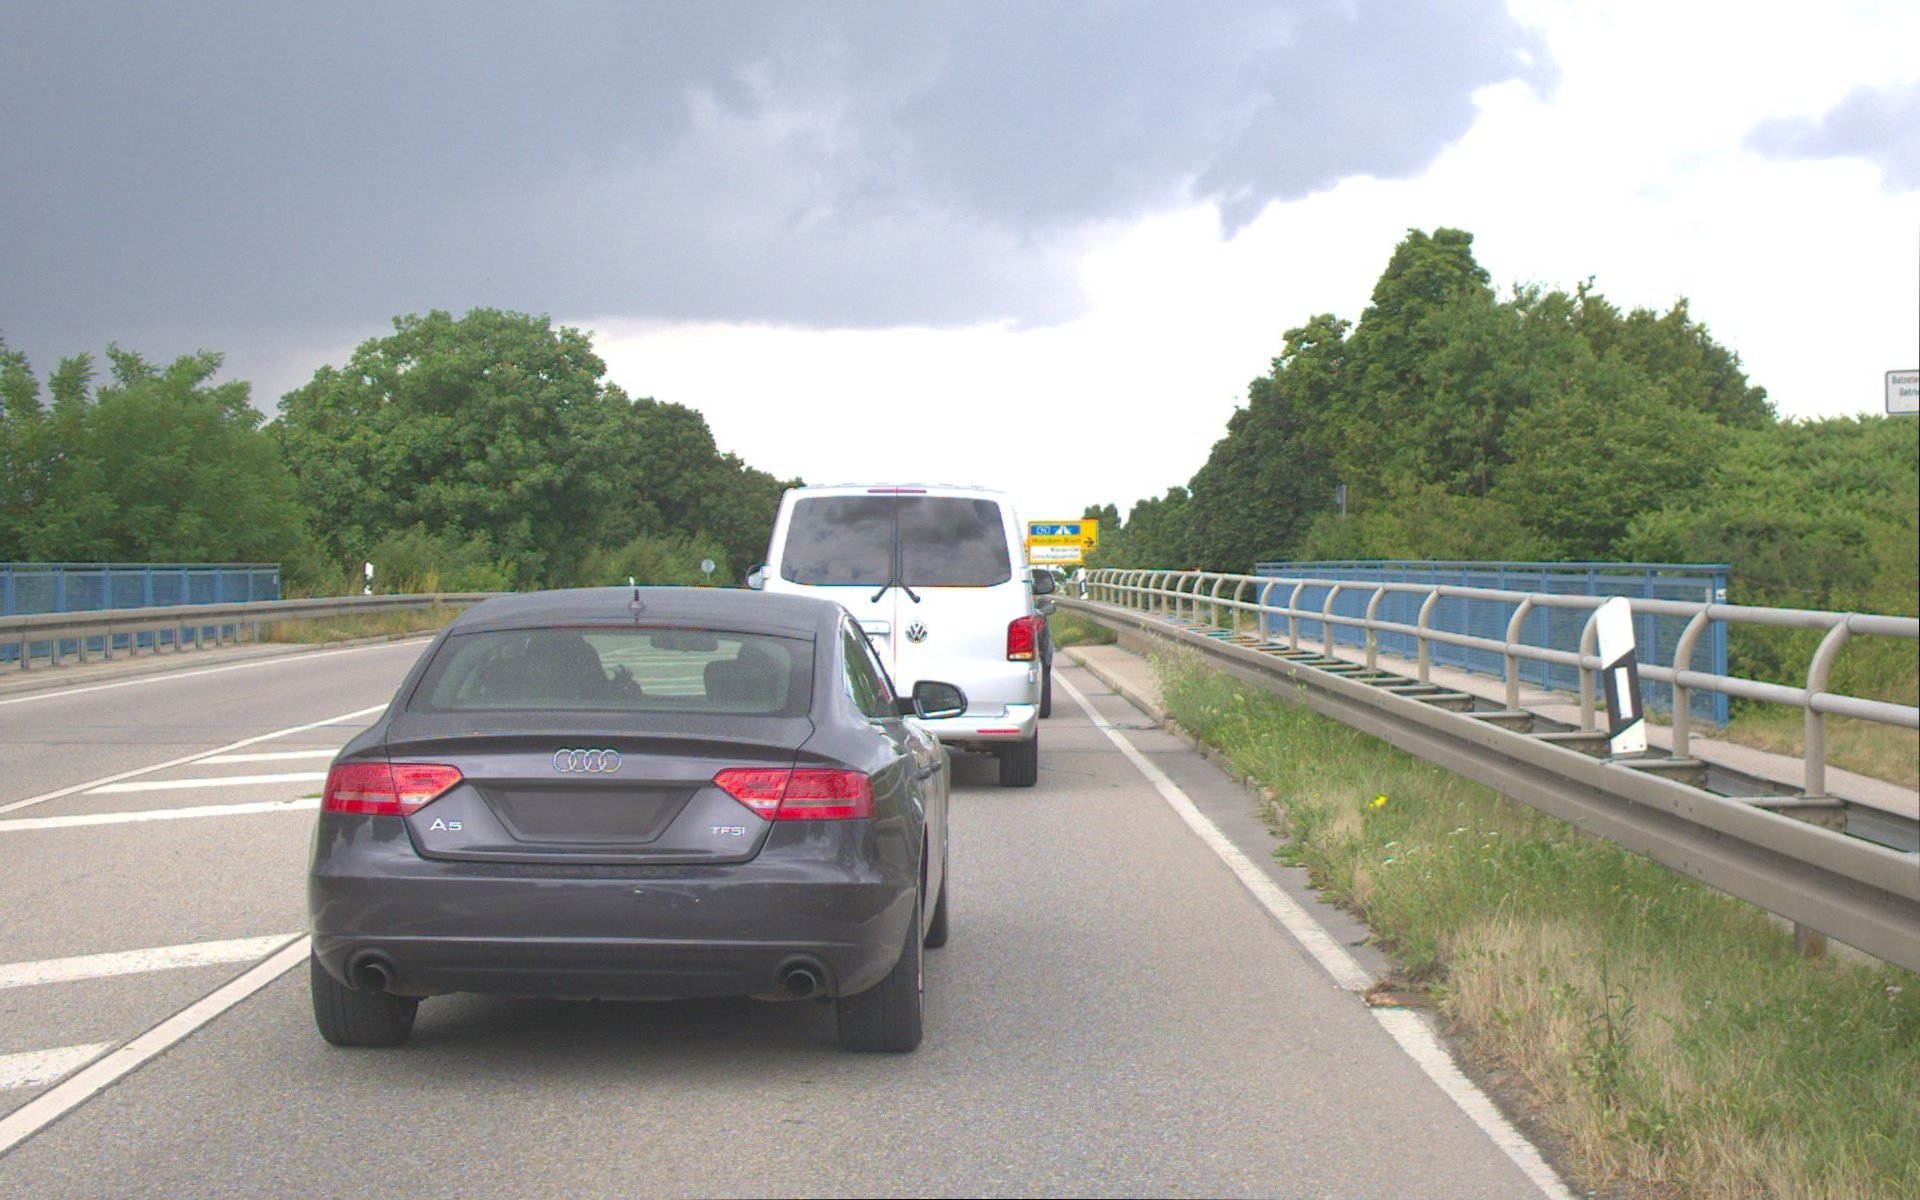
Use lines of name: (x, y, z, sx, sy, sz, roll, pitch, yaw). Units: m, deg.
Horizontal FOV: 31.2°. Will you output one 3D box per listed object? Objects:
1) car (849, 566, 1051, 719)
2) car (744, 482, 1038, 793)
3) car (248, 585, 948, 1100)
car: (-0.057, 0.363, 33.147, 1.821, 1.376, 4.072, 0, 1, 1)
car: (-0.440, 0.215, 23.425, 1.828, 1.929, 4.000, 0, 1, 0)
car: (-0.992, 0.653, 11.384, 1.821, 1.376, 4.072, 0, 1, 1)
